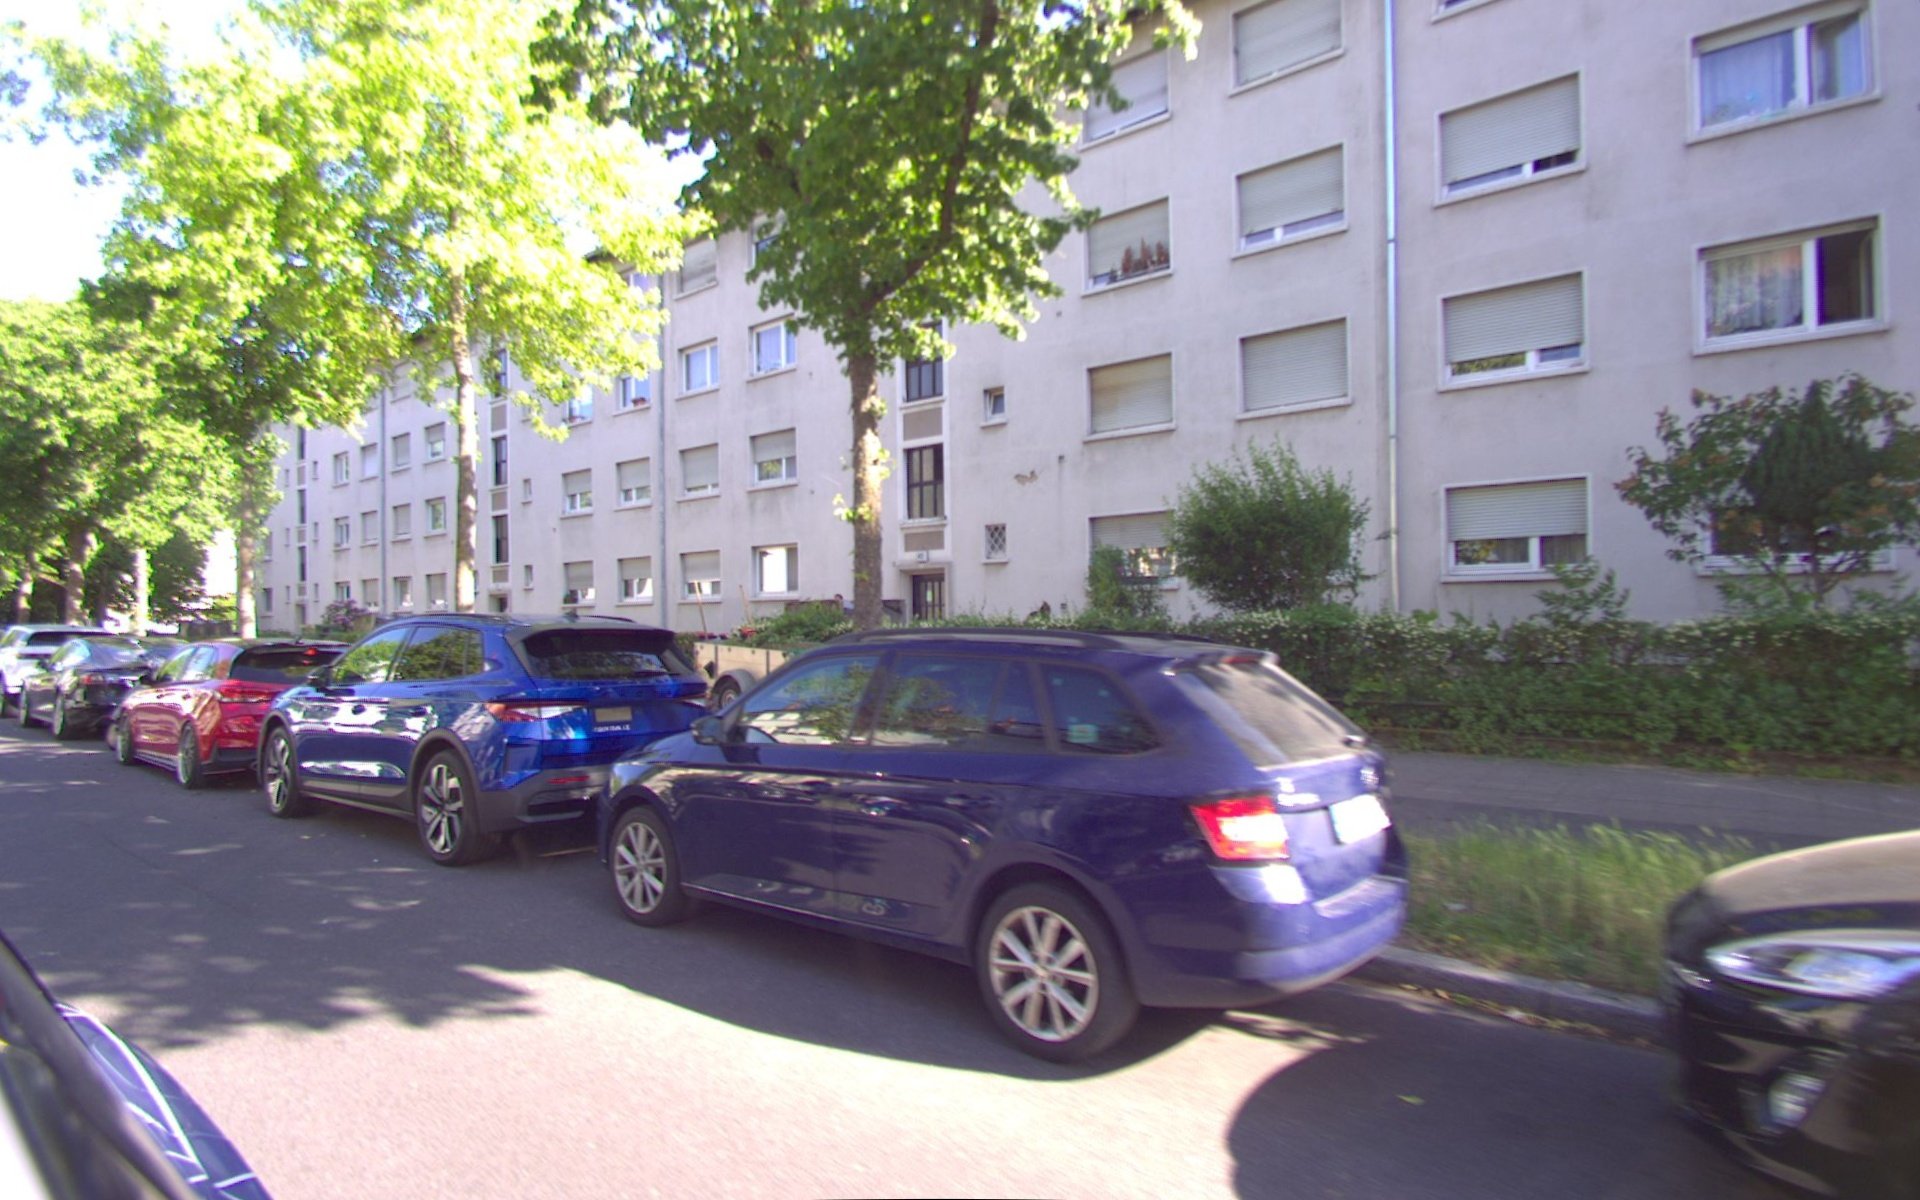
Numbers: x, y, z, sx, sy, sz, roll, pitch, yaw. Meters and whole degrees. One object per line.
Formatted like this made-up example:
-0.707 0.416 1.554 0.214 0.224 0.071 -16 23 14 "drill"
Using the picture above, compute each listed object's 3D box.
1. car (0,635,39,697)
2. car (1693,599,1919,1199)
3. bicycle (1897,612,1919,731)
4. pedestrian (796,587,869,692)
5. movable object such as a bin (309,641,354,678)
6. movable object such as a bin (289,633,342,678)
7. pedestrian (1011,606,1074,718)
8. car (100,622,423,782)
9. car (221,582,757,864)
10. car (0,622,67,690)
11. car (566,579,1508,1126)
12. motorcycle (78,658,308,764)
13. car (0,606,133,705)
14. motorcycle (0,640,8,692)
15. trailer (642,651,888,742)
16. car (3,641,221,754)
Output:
-26.134 1.717 26.571 4.713 1.536 2.045 -2 -2 37 "car"
3.681 0.726 1.668 3.904 1.455 1.744 -2 -4 39 "car"
11.006 0.639 8.817 3.989 1.145 1.095 -2 -2 34 "bicycle"
-2.408 0.741 19.097 1.025 1.902 0.923 -2 -3 42 "pedestrian"
-19.119 1.800 30.803 0.752 1.100 0.922 -2 -2 34 "movable object such as a bin"
-19.994 1.708 31.394 1.375 1.334 0.922 -2 -2 34 "movable object such as a bin"
1.460 1.084 17.963 0.770 1.928 0.881 1 -2 -24 "pedestrian"
-7.589 0.976 10.846 4.259 1.389 1.761 -2 -4 40 "car"
-3.754 0.792 7.746 4.457 1.579 1.773 -2 -5 37 "car"
-22.191 1.279 23.230 4.815 1.458 1.711 -2 -5 39 "car"
0.078 0.754 4.754 4.118 1.464 1.811 -2 -3 39 "car"
-10.112 1.411 13.466 0.805 1.280 2.270 -1 -3 29 "motorcycle"
-16.932 0.967 18.702 4.361 1.630 1.711 -2 -1 39 "car"
-29.086 1.929 29.232 2.202 1.515 0.989 0 -2 0 "motorcycle"
-2.784 1.272 14.174 3.280 1.042 1.770 -2 -2 42 "trailer"
-13.102 1.407 15.537 4.615 1.489 1.711 -2 -6 40 "car"
